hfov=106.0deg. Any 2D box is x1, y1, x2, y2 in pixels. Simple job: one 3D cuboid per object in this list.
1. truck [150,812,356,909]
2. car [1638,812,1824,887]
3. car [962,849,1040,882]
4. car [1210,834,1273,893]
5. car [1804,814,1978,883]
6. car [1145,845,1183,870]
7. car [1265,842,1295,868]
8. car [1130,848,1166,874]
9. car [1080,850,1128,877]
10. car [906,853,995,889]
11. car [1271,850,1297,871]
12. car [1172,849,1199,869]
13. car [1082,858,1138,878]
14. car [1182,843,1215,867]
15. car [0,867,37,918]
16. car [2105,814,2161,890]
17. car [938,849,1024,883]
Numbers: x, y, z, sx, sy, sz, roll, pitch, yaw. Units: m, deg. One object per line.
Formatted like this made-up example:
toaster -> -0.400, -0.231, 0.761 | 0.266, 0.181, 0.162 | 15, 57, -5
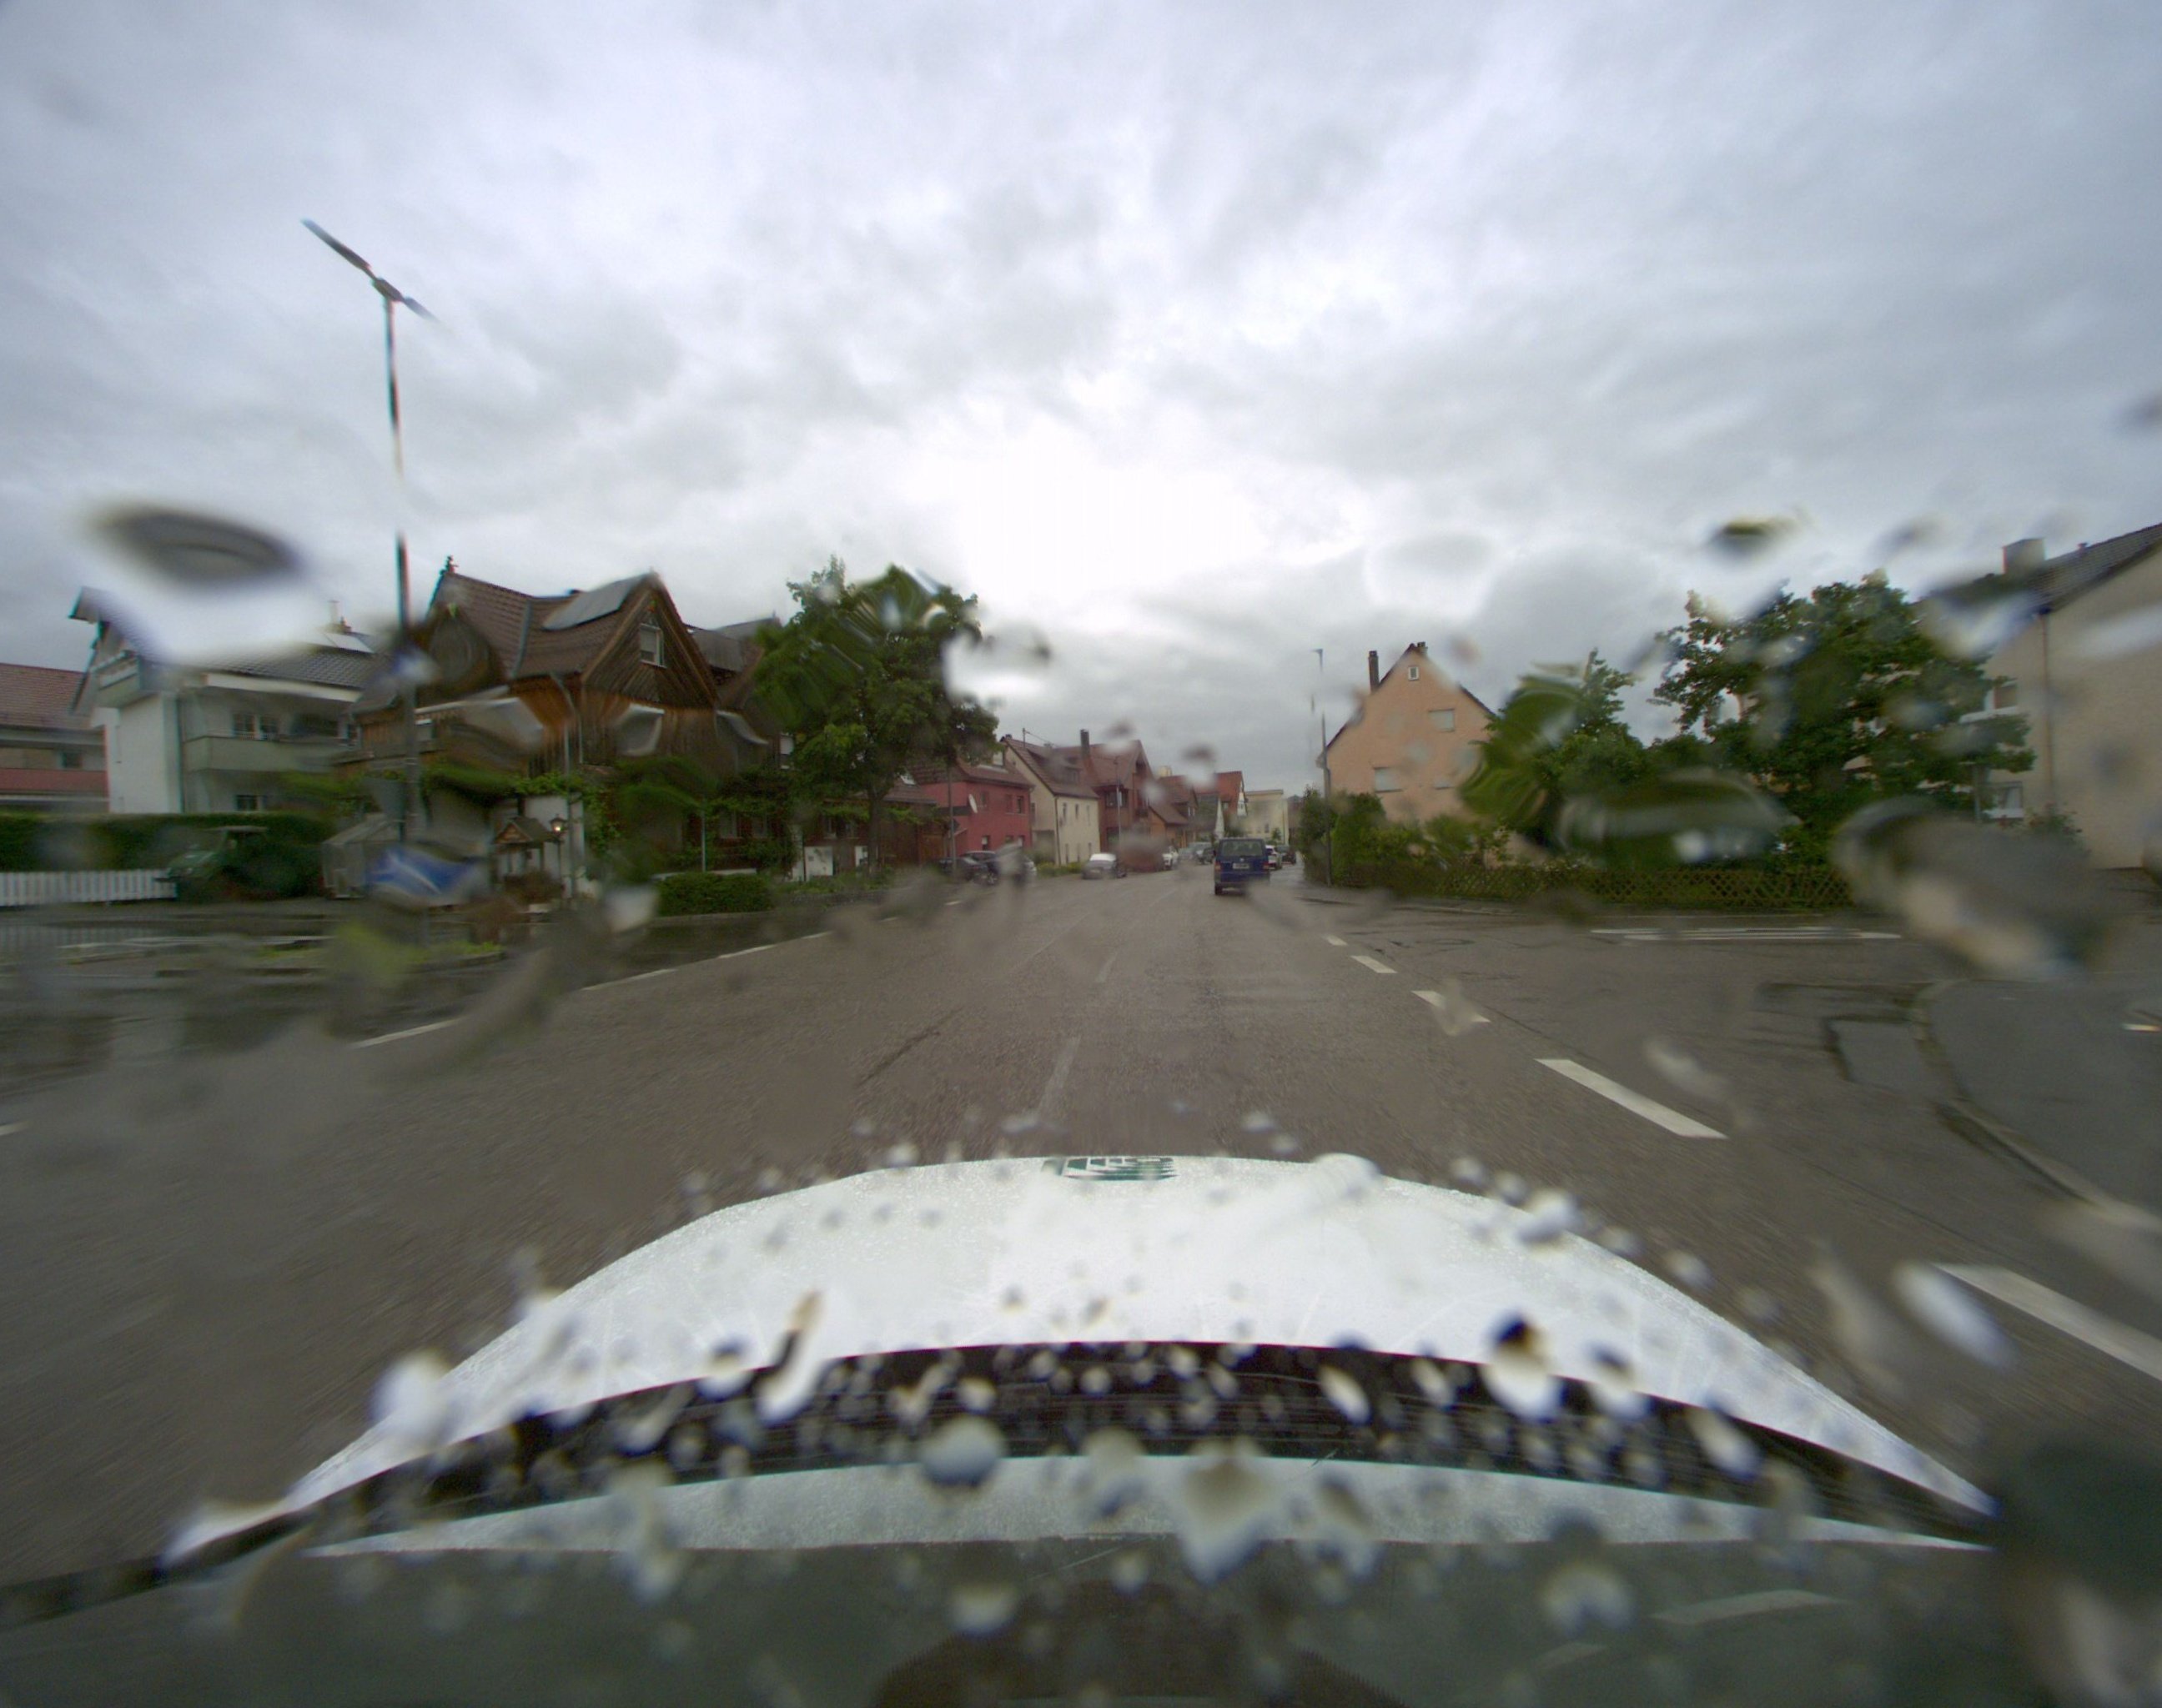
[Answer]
truck -> -24.555, 0.161, 24.342 | 1.761, 2.613, 3.864 | -3, 0, 19
car -> 20.026, -0.169, 25.472 | 1.937, 2.083, 5.191 | -1, 1, 4
car -> -3.986, 0.573, 40.523 | 3.433, 1.479, 1.598 | -3, 0, 19
car -> 5.649, 0.300, 29.138 | 1.920, 1.902, 4.804 | -1, 0, 8
car -> 23.411, -0.162, 23.737 | 1.647, 1.818, 3.647 | -1, 0, 6
car -> 6.053, 0.226, 58.937 | 1.750, 1.619, 4.677 | -3, 0, 17
car -> 13.113, 0.075, 53.434 | 1.789, 1.595, 4.630 | -1, 0, 15
car -> 4.512, 0.456, 54.299 | 1.592, 1.617, 3.291 | -3, 0, 18
car -> 1.305, 0.498, 44.450 | 1.614, 1.355, 4.128 | 0, 0, 16
car -> -5.694, 0.745, 35.584 | 3.417, 1.418, 1.640 | -3, 0, 19
car -> 17.445, 0.536, 69.862 | 1.735, 1.710, 4.019 | -3, 0, 18
car -> 8.744, 0.399, 67.891 | 1.566, 1.497, 3.584 | -3, 0, 18
car -> 2.362, 1.109, 66.420 | 4.134, 1.403, 1.799 | -3, 0, 24
car -> 10.527, 0.036, 72.904 | 1.806, 2.013, 5.241 | -3, 0, 20
car -> -40.148, 1.449, 28.669 | 1.974, 1.813, 4.026 | -3, 0, 34
car -> 26.547, -0.141, 18.755 | 3.984, 1.670, 1.889 | -4, 0, -8
car -> -4.701, 0.525, 38.332 | 3.545, 1.506, 1.865 | 0, 1, 21
